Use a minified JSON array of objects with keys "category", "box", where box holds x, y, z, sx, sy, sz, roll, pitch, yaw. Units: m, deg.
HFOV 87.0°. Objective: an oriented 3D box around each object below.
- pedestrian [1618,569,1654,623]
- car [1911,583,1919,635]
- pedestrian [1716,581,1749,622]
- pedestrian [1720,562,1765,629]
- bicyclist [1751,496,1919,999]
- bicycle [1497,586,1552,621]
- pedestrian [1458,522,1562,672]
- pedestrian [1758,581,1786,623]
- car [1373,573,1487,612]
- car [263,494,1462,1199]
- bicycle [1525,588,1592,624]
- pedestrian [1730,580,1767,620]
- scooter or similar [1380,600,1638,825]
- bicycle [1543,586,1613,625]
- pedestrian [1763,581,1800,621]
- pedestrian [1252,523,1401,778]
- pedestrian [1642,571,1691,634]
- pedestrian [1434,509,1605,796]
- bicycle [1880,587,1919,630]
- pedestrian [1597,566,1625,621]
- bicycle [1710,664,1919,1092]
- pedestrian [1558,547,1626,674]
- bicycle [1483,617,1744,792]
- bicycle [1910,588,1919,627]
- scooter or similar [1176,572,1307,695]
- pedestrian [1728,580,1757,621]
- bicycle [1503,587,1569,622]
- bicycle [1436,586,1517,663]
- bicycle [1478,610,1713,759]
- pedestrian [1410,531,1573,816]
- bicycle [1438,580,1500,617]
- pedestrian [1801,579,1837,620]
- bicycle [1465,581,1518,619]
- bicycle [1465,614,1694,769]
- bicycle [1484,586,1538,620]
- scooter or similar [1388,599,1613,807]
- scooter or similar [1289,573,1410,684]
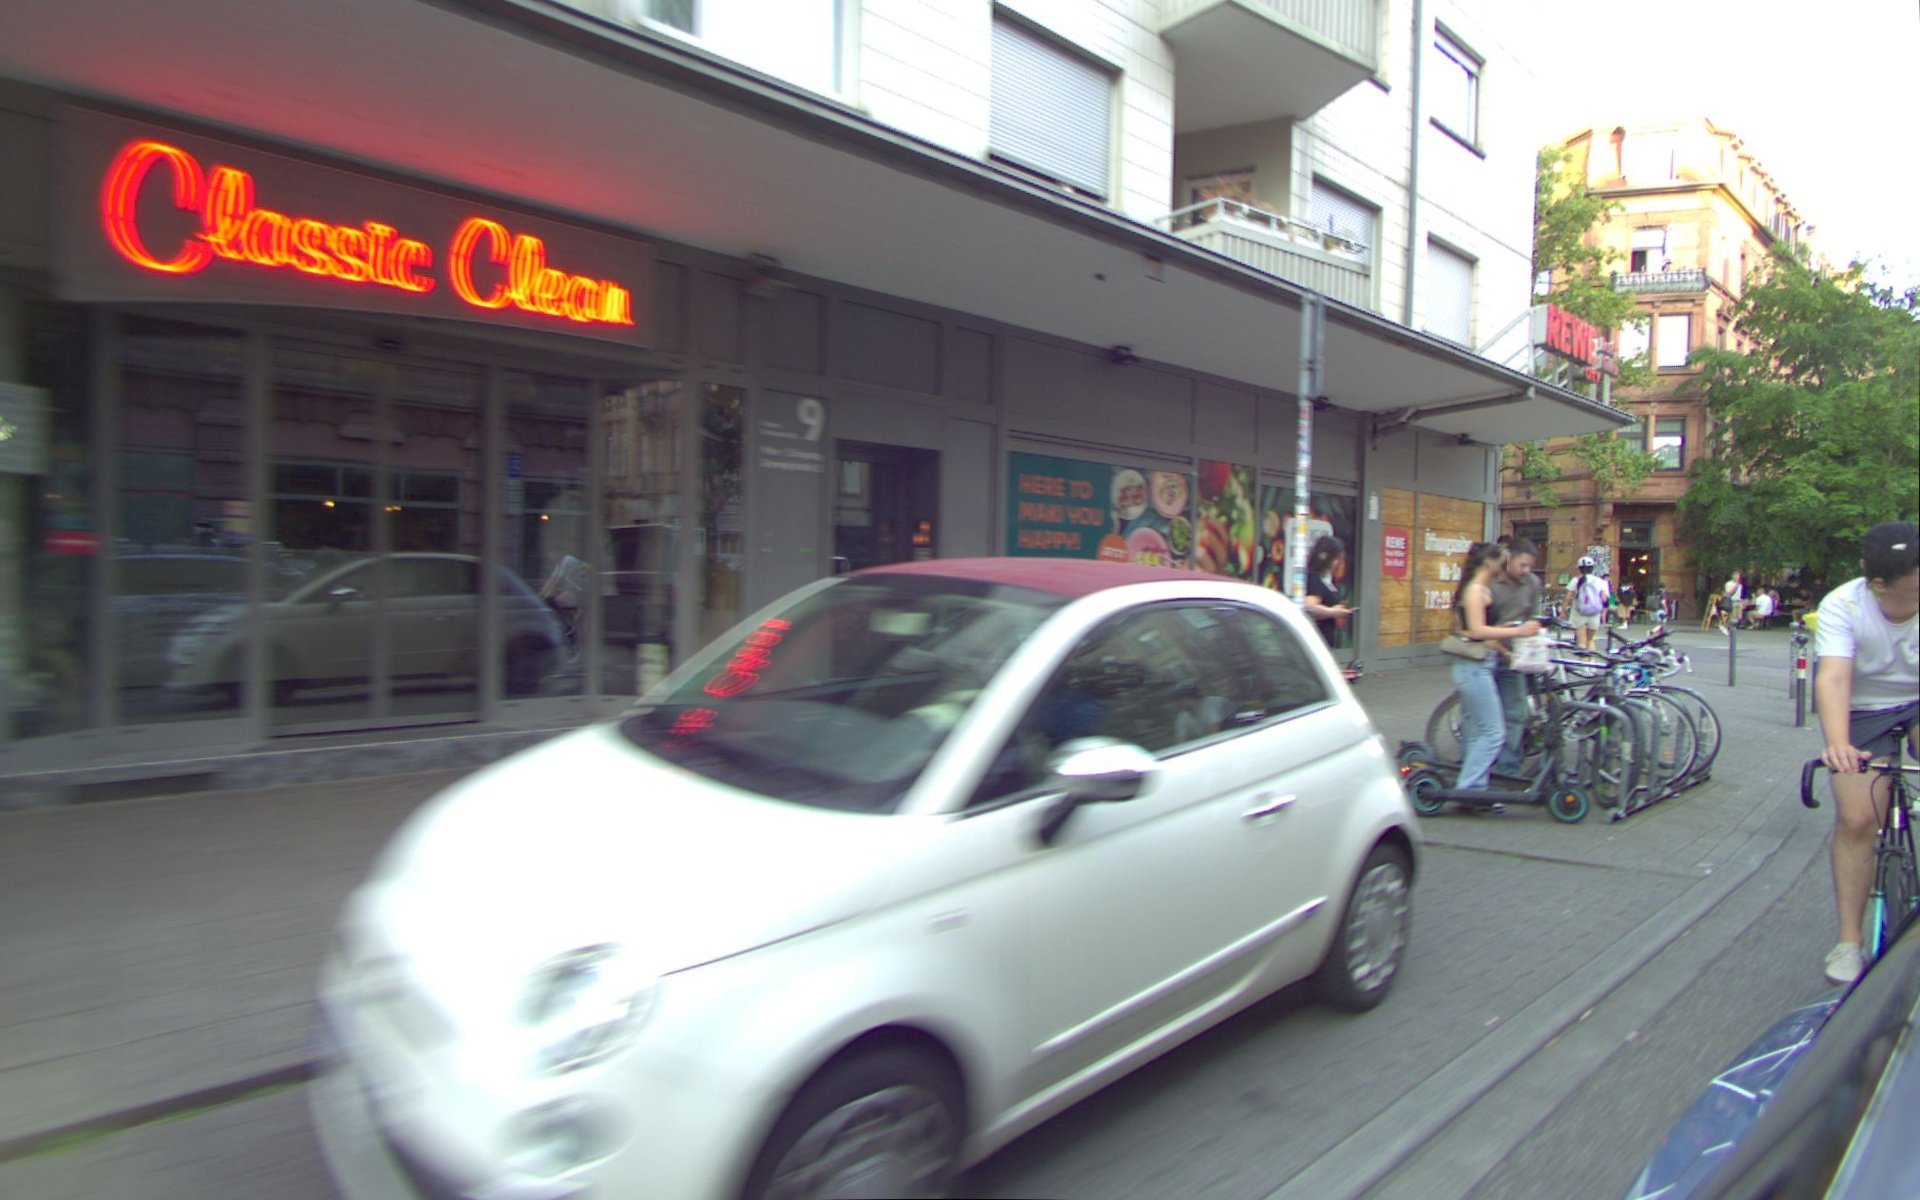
[{"category":"pedestrian","box":[21.335,-0.137,31.940,0.628,1.657,0.675,0,2,-4]},{"category":"car","box":[33.011,0.325,31.904,3.948,1.688,1.817,1,2,19]},{"category":"pedestrian","box":[24.679,0.041,32.325,0.667,1.288,0.636,0,2,22]},{"category":"pedestrian","box":[22.330,-0.146,28.888,0.892,1.891,0.676,-1,2,-26]},{"category":"bicyclist","box":[3.222,0.434,3.416,0.936,1.527,0.650,-2,2,-38]},{"category":"bicycle","box":[18.672,0.112,33.470,1.847,1.091,0.713,-1,2,-30]},{"category":"pedestrian","box":[7.535,-0.062,13.859,1.169,1.934,0.763,0,4,-40]},{"category":"pedestrian","box":[25.515,0.059,31.804,0.636,1.288,0.666,1,2,35]},{"category":"car","box":[18.253,-0.317,39.326,3.892,1.437,1.632,-1,2,-16]},{"category":"car","box":[0.011,0.543,3.108,3.366,1.519,1.595,-1,4,-43]},{"category":"bicycle","box":[18.822,0.172,31.836,1.845,1.064,0.714,-1,2,-14]},{"category":"pedestrian","box":[25.847,0.003,33.174,0.627,1.288,0.676,-1,2,-14]},{"category":"scooter or similar","box":[3.189,0.633,5.943,1.141,1.185,0.537,3,1,-1]},{"category":"bicycle","box":[19.018,0.161,31.150,1.845,1.168,0.714,-1,2,-14]},{"category":"pedestrian","box":[26.519,0.028,32.681,0.662,1.288,0.641,0,2,-2]},{"category":"pedestrian","box":[2.518,0.315,6.967,0.712,1.651,0.563,1,3,-33]},{"category":"pedestrian","box":[18.666,0.057,26.742,0.850,1.627,0.540,2,1,-14]},{"category":"pedestrian","box":[3.706,0.305,6.720,0.724,1.777,0.663,0,3,-35]},{"category":"bicycle","box":[28.852,0.255,30.653,0.658,1.179,2.101,4,3,22]},{"category":"pedestrian","box":[21.056,-0.220,32.719,0.672,1.767,0.631,1,2,41]},{"category":"bicycle","box":[3.310,0.824,3.512,1.883,1.031,0.658,-2,2,-38]},{"category":"pedestrian","box":[8.819,0.124,14.125,0.659,1.671,0.873,5,4,33]},{"category":"bicycle","box":[4.704,0.702,7.389,0.501,1.014,1.485,-1,4,-33]},{"category":"bicycle","box":[29.506,0.291,30.345,0.658,1.179,2.101,4,3,22]},{"category":"scooter or similar","box":[2.888,0.334,10.407,1.139,1.218,0.538,1,1,-14]},{"category":"pedestrian","box":[25.225,0.018,32.627,0.670,1.288,0.633,1,2,34]},{"category":"bicycle","box":[18.524,0.149,32.531,1.845,1.071,0.714,-1,2,-14]},{"category":"bicycle","box":[7.610,0.334,14.876,1.753,1.037,0.457,-2,2,-42]},{"category":"bicycle","box":[5.276,0.652,8.474,0.502,1.013,1.550,-2,5,-43]},{"category":"pedestrian","box":[3.192,0.408,6.136,0.637,1.619,0.590,2,3,10]},{"category":"bicycle","box":[17.726,-0.065,35.246,1.846,1.254,0.714,0,2,-8]},{"category":"pedestrian","box":[28.143,-0.033,33.165,0.715,1.321,0.743,2,2,30]},{"category":"bicycle","box":[18.118,-0.016,34.461,1.847,1.254,0.713,-1,2,-30]},{"category":"bicycle","box":[4.850,0.670,7.994,0.502,0.995,1.420,-2,5,-43]},{"category":"bicycle","box":[18.548,0.081,34.048,1.847,1.091,0.713,-1,2,-30]},{"category":"scooter or similar","box":[3.550,0.622,6.684,1.160,1.185,0.529,4,2,43]},{"category":"scooter or similar","box":[4.638,0.306,12.018,1.592,1.233,0.480,-1,3,-33]}]
